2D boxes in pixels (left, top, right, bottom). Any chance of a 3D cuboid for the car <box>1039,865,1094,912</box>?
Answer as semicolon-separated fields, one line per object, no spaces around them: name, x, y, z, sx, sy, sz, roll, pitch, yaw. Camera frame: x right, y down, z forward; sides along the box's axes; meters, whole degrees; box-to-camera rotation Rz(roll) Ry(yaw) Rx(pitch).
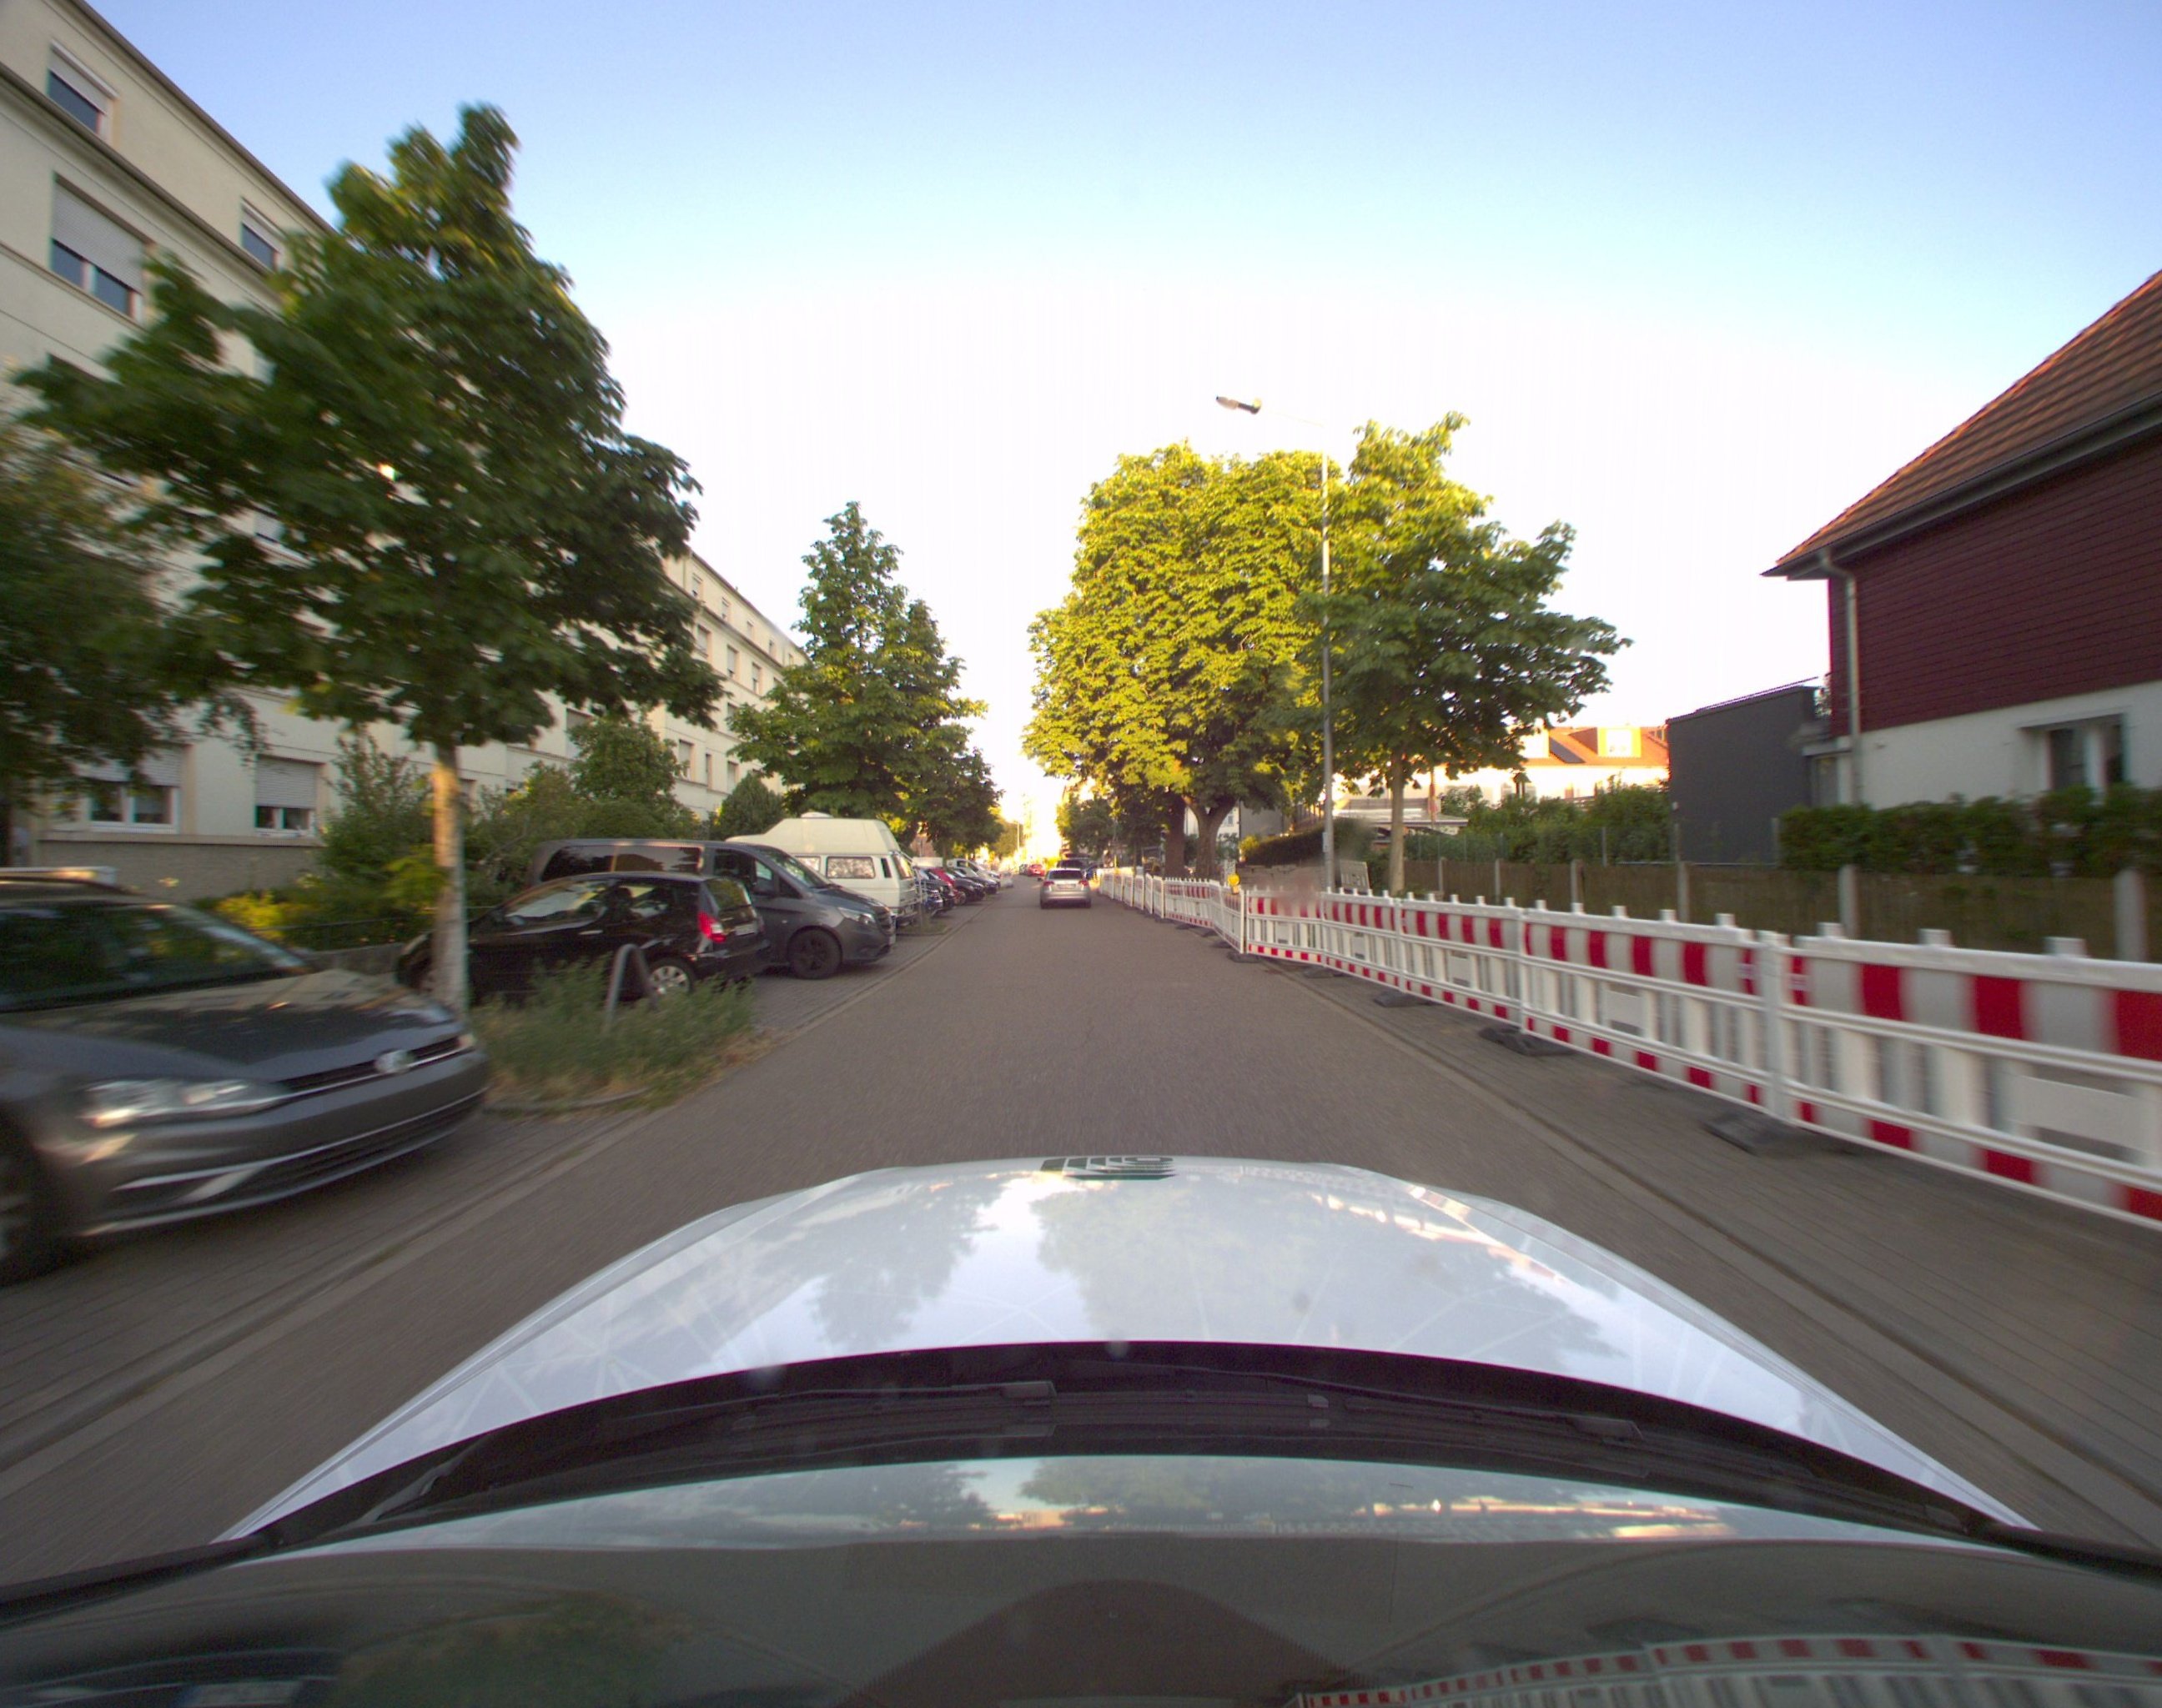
car;-0.577;1.181;29.309;1.803;1.488;3.995;-1;0;-3

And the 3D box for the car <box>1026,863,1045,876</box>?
car;-5.089;1.713;90.553;1.729;1.484;3.547;0;-1;-8

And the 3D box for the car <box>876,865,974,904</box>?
car;-6.544;1.256;34.504;3.984;1.578;1.796;0;-1;-8

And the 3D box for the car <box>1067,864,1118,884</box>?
car;0.975;1.651;68.299;3.993;1.651;1.756;0;-1;-15

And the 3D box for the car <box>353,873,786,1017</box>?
car;-5.510;0.950;9.147;3.757;1.439;1.655;0;-1;-1

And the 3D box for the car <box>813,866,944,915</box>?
car;-6.614;1.162;26.964;3.982;1.524;1.786;0;-1;-7

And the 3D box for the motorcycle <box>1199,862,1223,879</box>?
motorcycle;8.739;1.076;54.711;1.856;1.106;0.574;0;-1;-40

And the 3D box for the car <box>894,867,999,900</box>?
car;-6.310;1.397;38.766;4.763;1.470;1.878;0;-1;-5

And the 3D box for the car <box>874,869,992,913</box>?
car;-5.725;1.400;31.919;4.403;1.615;1.895;0;-1;-8

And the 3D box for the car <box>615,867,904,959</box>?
car;-5.342;0.960;14.027;4.164;1.425;1.999;0;-1;-2

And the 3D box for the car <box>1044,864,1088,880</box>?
car;-1.557;1.844;83.045;4.156;1.572;1.788;0;-1;-15

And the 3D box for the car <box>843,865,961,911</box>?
car;-6.437;1.219;29.661;3.979;1.583;1.728;0;-1;-5

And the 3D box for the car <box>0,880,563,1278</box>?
car;-5.141;0.846;3.931;4.225;1.394;1.686;0;-1;3

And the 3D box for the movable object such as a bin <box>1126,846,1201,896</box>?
movable object such as a bin;4.094;0.830;41.565;2.627;2.403;5.181;0;-1;-9

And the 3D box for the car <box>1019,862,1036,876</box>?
car;-6.598;1.834;100.840;1.808;1.613;3.570;0;-1;-8

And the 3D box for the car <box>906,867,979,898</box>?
car;-6.998;1.440;41.317;3.406;1.484;1.757;0;-1;-3

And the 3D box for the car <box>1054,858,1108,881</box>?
car;-0.039;1.376;73.184;4.561;2.023;2.092;0;-1;-13

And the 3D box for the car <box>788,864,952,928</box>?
car;-5.484;1.082;21.538;3.849;1.595;1.785;0;-1;-1

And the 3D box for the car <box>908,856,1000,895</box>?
car;-6.778;1.137;43.978;4.764;2.014;1.997;0;-1;-5

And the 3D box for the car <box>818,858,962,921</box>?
car;-5.594;1.016;24.221;3.849;1.777;1.842;0;-1;-1

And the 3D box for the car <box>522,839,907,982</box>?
car;-5.081;0.751;11.866;4.661;1.874;1.998;0;-1;-2

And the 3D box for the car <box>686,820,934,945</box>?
car;-5.496;0.554;17.005;4.490;2.431;1.998;0;-1;-2
